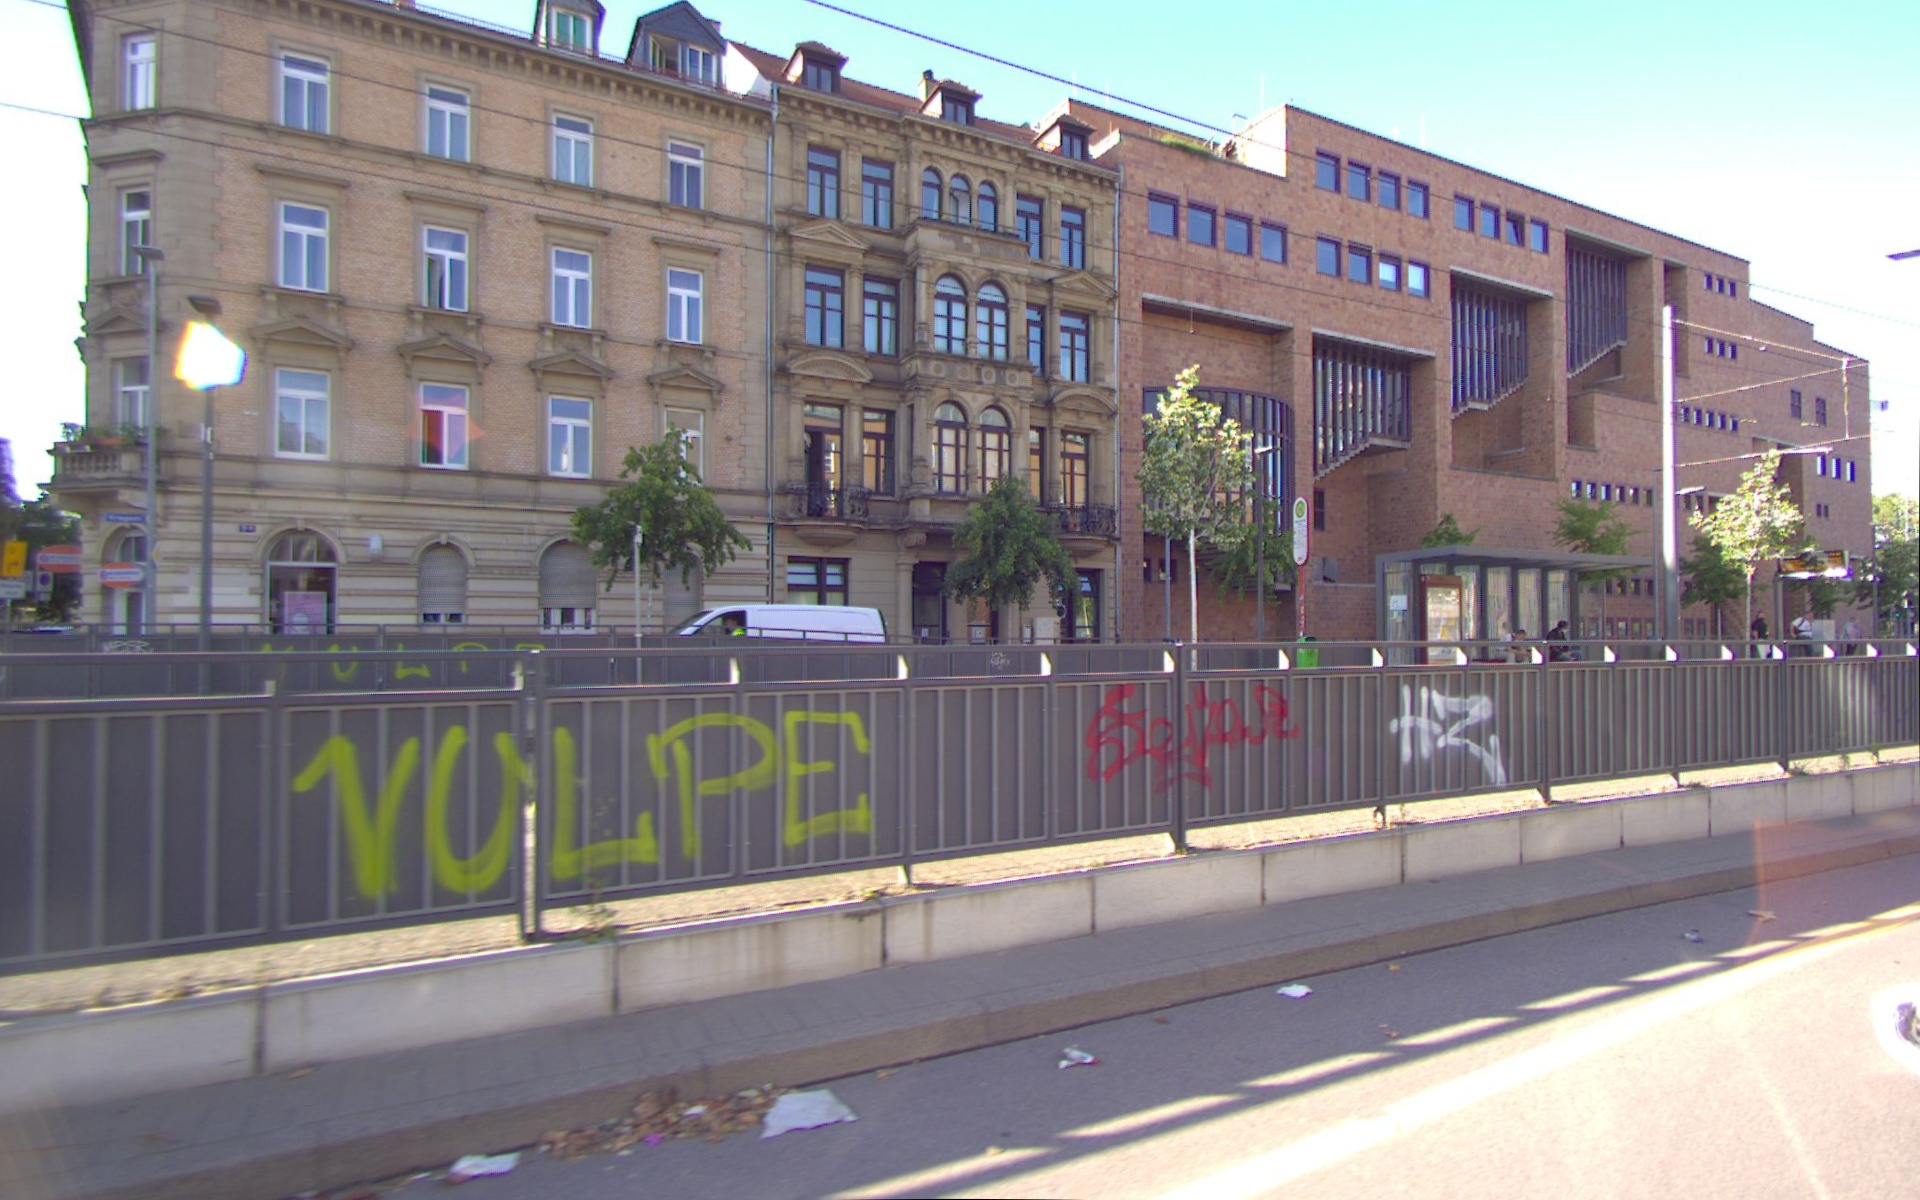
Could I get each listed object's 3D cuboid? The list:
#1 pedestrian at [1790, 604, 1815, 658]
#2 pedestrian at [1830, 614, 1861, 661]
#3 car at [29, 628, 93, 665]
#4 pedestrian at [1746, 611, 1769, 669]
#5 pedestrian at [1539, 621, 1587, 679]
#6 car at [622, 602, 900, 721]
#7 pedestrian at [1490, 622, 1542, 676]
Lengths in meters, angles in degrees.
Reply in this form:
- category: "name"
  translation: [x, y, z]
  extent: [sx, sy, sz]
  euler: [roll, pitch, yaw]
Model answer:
- category: "pedestrian"
  translation: [25.739, 0.947, 30.686]
  extent: [0.546, 1.643, 0.376]
  euler: [0, 0, -27]
- category: "pedestrian"
  translation: [28.203, 1.182, 31.978]
  extent: [0.634, 1.479, 0.537]
  euler: [0, 0, -27]
- category: "car"
  translation: [-38.824, 1.989, 43.454]
  extent: [1.721, 1.539, 3.753]
  euler: [1, -2, -37]
- category: "pedestrian"
  translation: [23.373, 1.162, 29.430]
  extent: [0.410, 1.670, 0.376]
  euler: [0, 0, -27]
- category: "pedestrian"
  translation: [14.209, 1.180, 23.681]
  extent: [0.712, 1.326, 0.644]
  euler: [1, -4, -28]
- category: "car"
  translation: [-3.541, 1.043, 18.091]
  extent: [4.531, 1.905, 1.984]
  euler: [1, -2, -31]
- category: "pedestrian"
  translation: [12.503, 1.110, 22.597]
  extent: [0.712, 1.183, 0.719]
  euler: [1, -4, -27]
